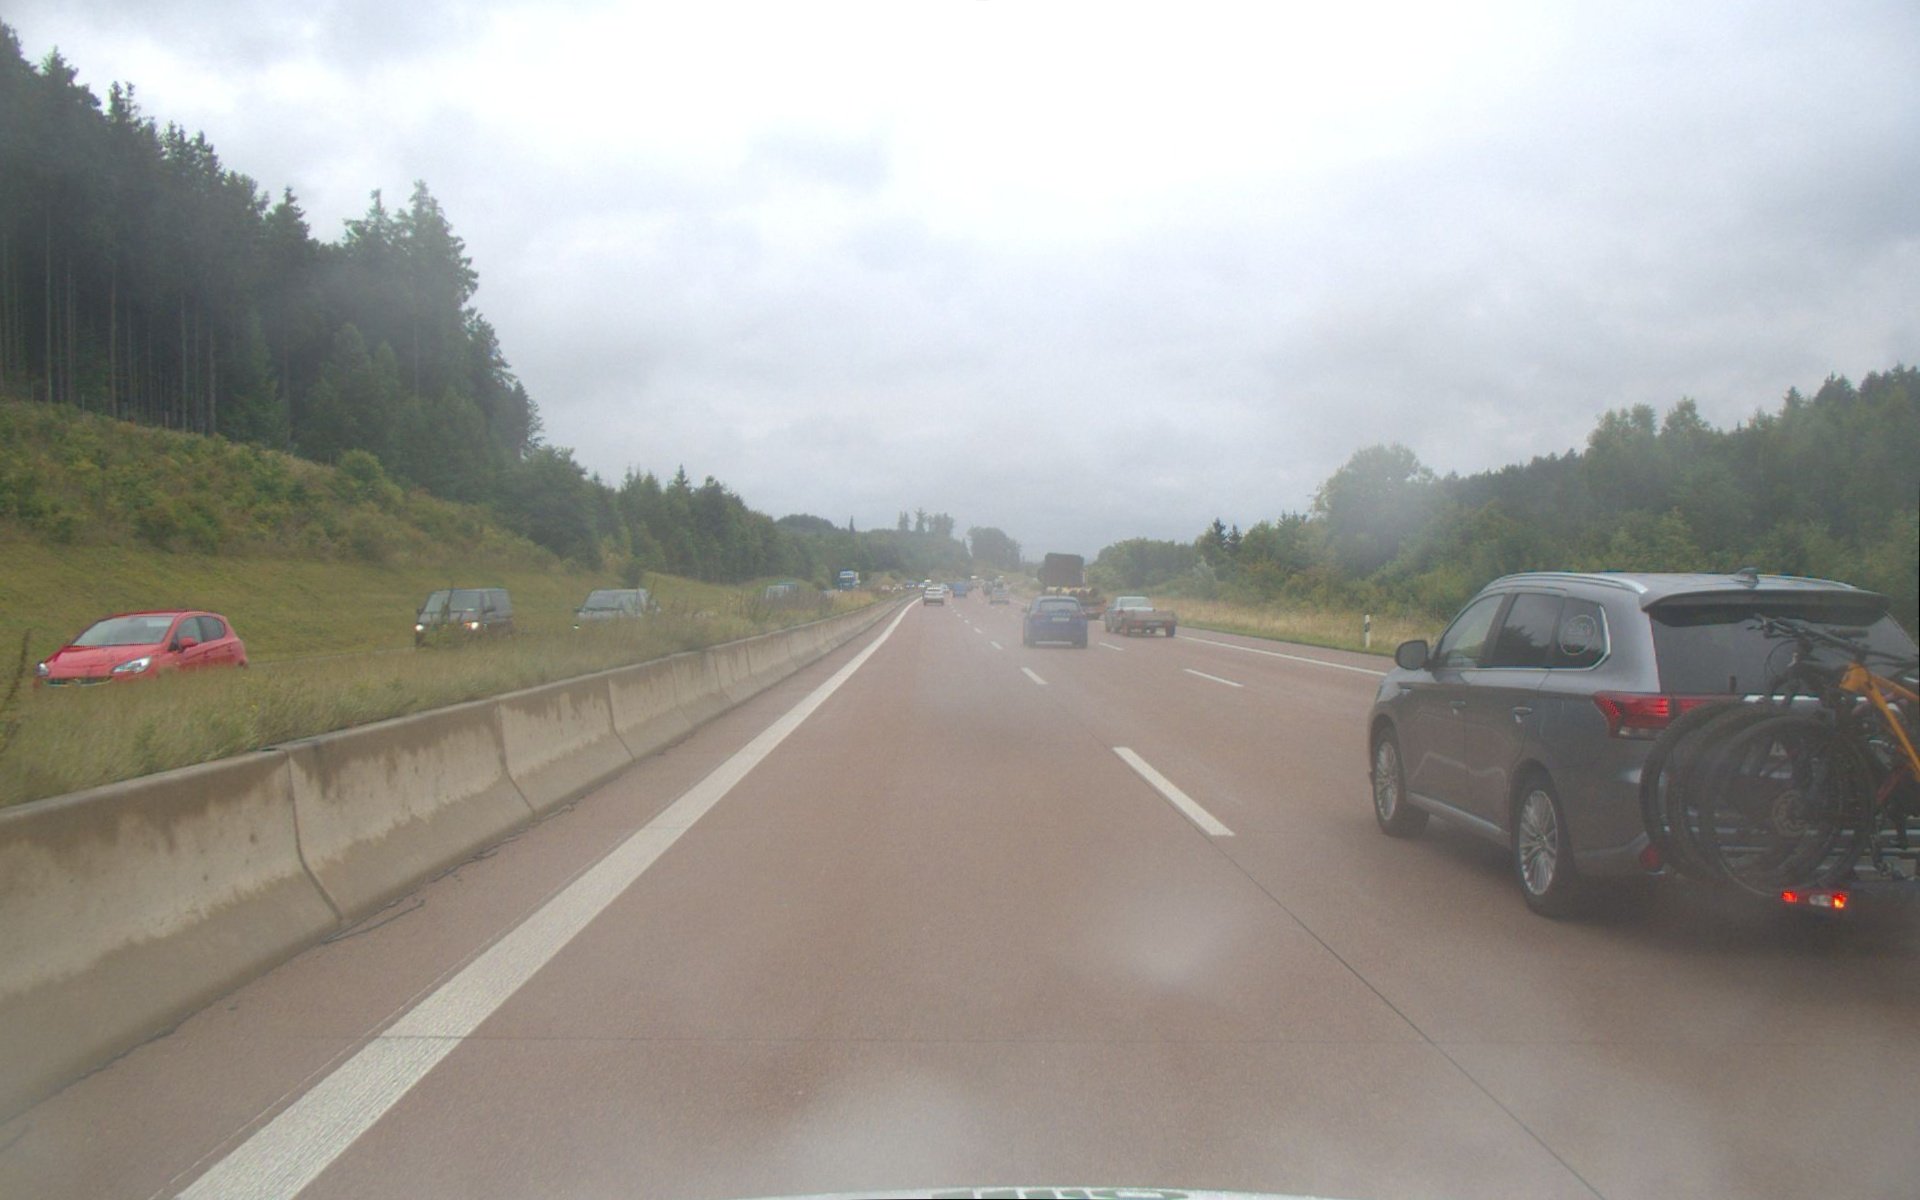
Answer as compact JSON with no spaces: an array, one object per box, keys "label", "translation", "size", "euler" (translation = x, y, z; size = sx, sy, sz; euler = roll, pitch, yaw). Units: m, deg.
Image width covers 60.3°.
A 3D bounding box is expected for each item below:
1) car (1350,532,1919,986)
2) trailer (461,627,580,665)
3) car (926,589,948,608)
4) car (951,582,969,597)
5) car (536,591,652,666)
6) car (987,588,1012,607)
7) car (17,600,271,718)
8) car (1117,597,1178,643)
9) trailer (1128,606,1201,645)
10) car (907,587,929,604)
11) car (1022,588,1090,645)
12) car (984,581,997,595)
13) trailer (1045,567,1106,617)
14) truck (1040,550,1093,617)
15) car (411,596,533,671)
[{"label":"car","translation":[3.758,0.608,8.872],"size":[1.953,1.620,5.820],"euler":[1,-1,0]},{"label":"trailer","translation":[-14.182,1.453,53.870],"size":[2.160,1.015,6.849],"euler":[-2,0,-1]},{"label":"car","translation":[-2.033,-0.142,148.057],"size":[1.835,1.469,4.878],"euler":[1,2,0]},{"label":"car","translation":[0.006,-1.387,215.305],"size":[2.275,1.780,4.876],"euler":[1,-1,0]},{"label":"car","translation":[-9.437,0.724,43.031],"size":[1.851,1.811,4.938],"euler":[1,-1,0]},{"label":"car","translation":[3.819,-0.245,160.165],"size":[2.275,1.780,4.876],"euler":[1,-1,0]},{"label":"car","translation":[-11.760,0.806,24.174],"size":[1.691,1.556,4.116],"euler":[1,-1,-1]},{"label":"car","translation":[6.962,0.725,61.877],"size":[1.663,1.640,4.976],"euler":[0,0,-1]},{"label":"trailer","translation":[7.003,0.862,57.143],"size":[1.931,1.187,4.639],"euler":[1,1,0]},{"label":"car","translation":[-4.731,-0.509,187.567],"size":[2.275,1.780,4.876],"euler":[1,-1,0]},{"label":"car","translation":[2.775,0.485,48.599],"size":[1.735,1.591,4.146],"euler":[1,-1,0]},{"label":"car","translation":[4.554,-1.751,248.349],"size":[1.953,2.049,3.999],"euler":[1,-1,0]},{"label":"trailer","translation":[6.660,-0.400,97.027],"size":[2.822,2.722,11.397],"euler":[1,-1,0]},{"label":"truck","translation":[6.691,-0.989,104.604],"size":[2.838,4.034,6.988],"euler":[1,-1,0]},{"label":"car","translation":[-14.087,0.938,48.124],"size":[1.953,2.049,5.672],"euler":[1,-1,-1]}]
